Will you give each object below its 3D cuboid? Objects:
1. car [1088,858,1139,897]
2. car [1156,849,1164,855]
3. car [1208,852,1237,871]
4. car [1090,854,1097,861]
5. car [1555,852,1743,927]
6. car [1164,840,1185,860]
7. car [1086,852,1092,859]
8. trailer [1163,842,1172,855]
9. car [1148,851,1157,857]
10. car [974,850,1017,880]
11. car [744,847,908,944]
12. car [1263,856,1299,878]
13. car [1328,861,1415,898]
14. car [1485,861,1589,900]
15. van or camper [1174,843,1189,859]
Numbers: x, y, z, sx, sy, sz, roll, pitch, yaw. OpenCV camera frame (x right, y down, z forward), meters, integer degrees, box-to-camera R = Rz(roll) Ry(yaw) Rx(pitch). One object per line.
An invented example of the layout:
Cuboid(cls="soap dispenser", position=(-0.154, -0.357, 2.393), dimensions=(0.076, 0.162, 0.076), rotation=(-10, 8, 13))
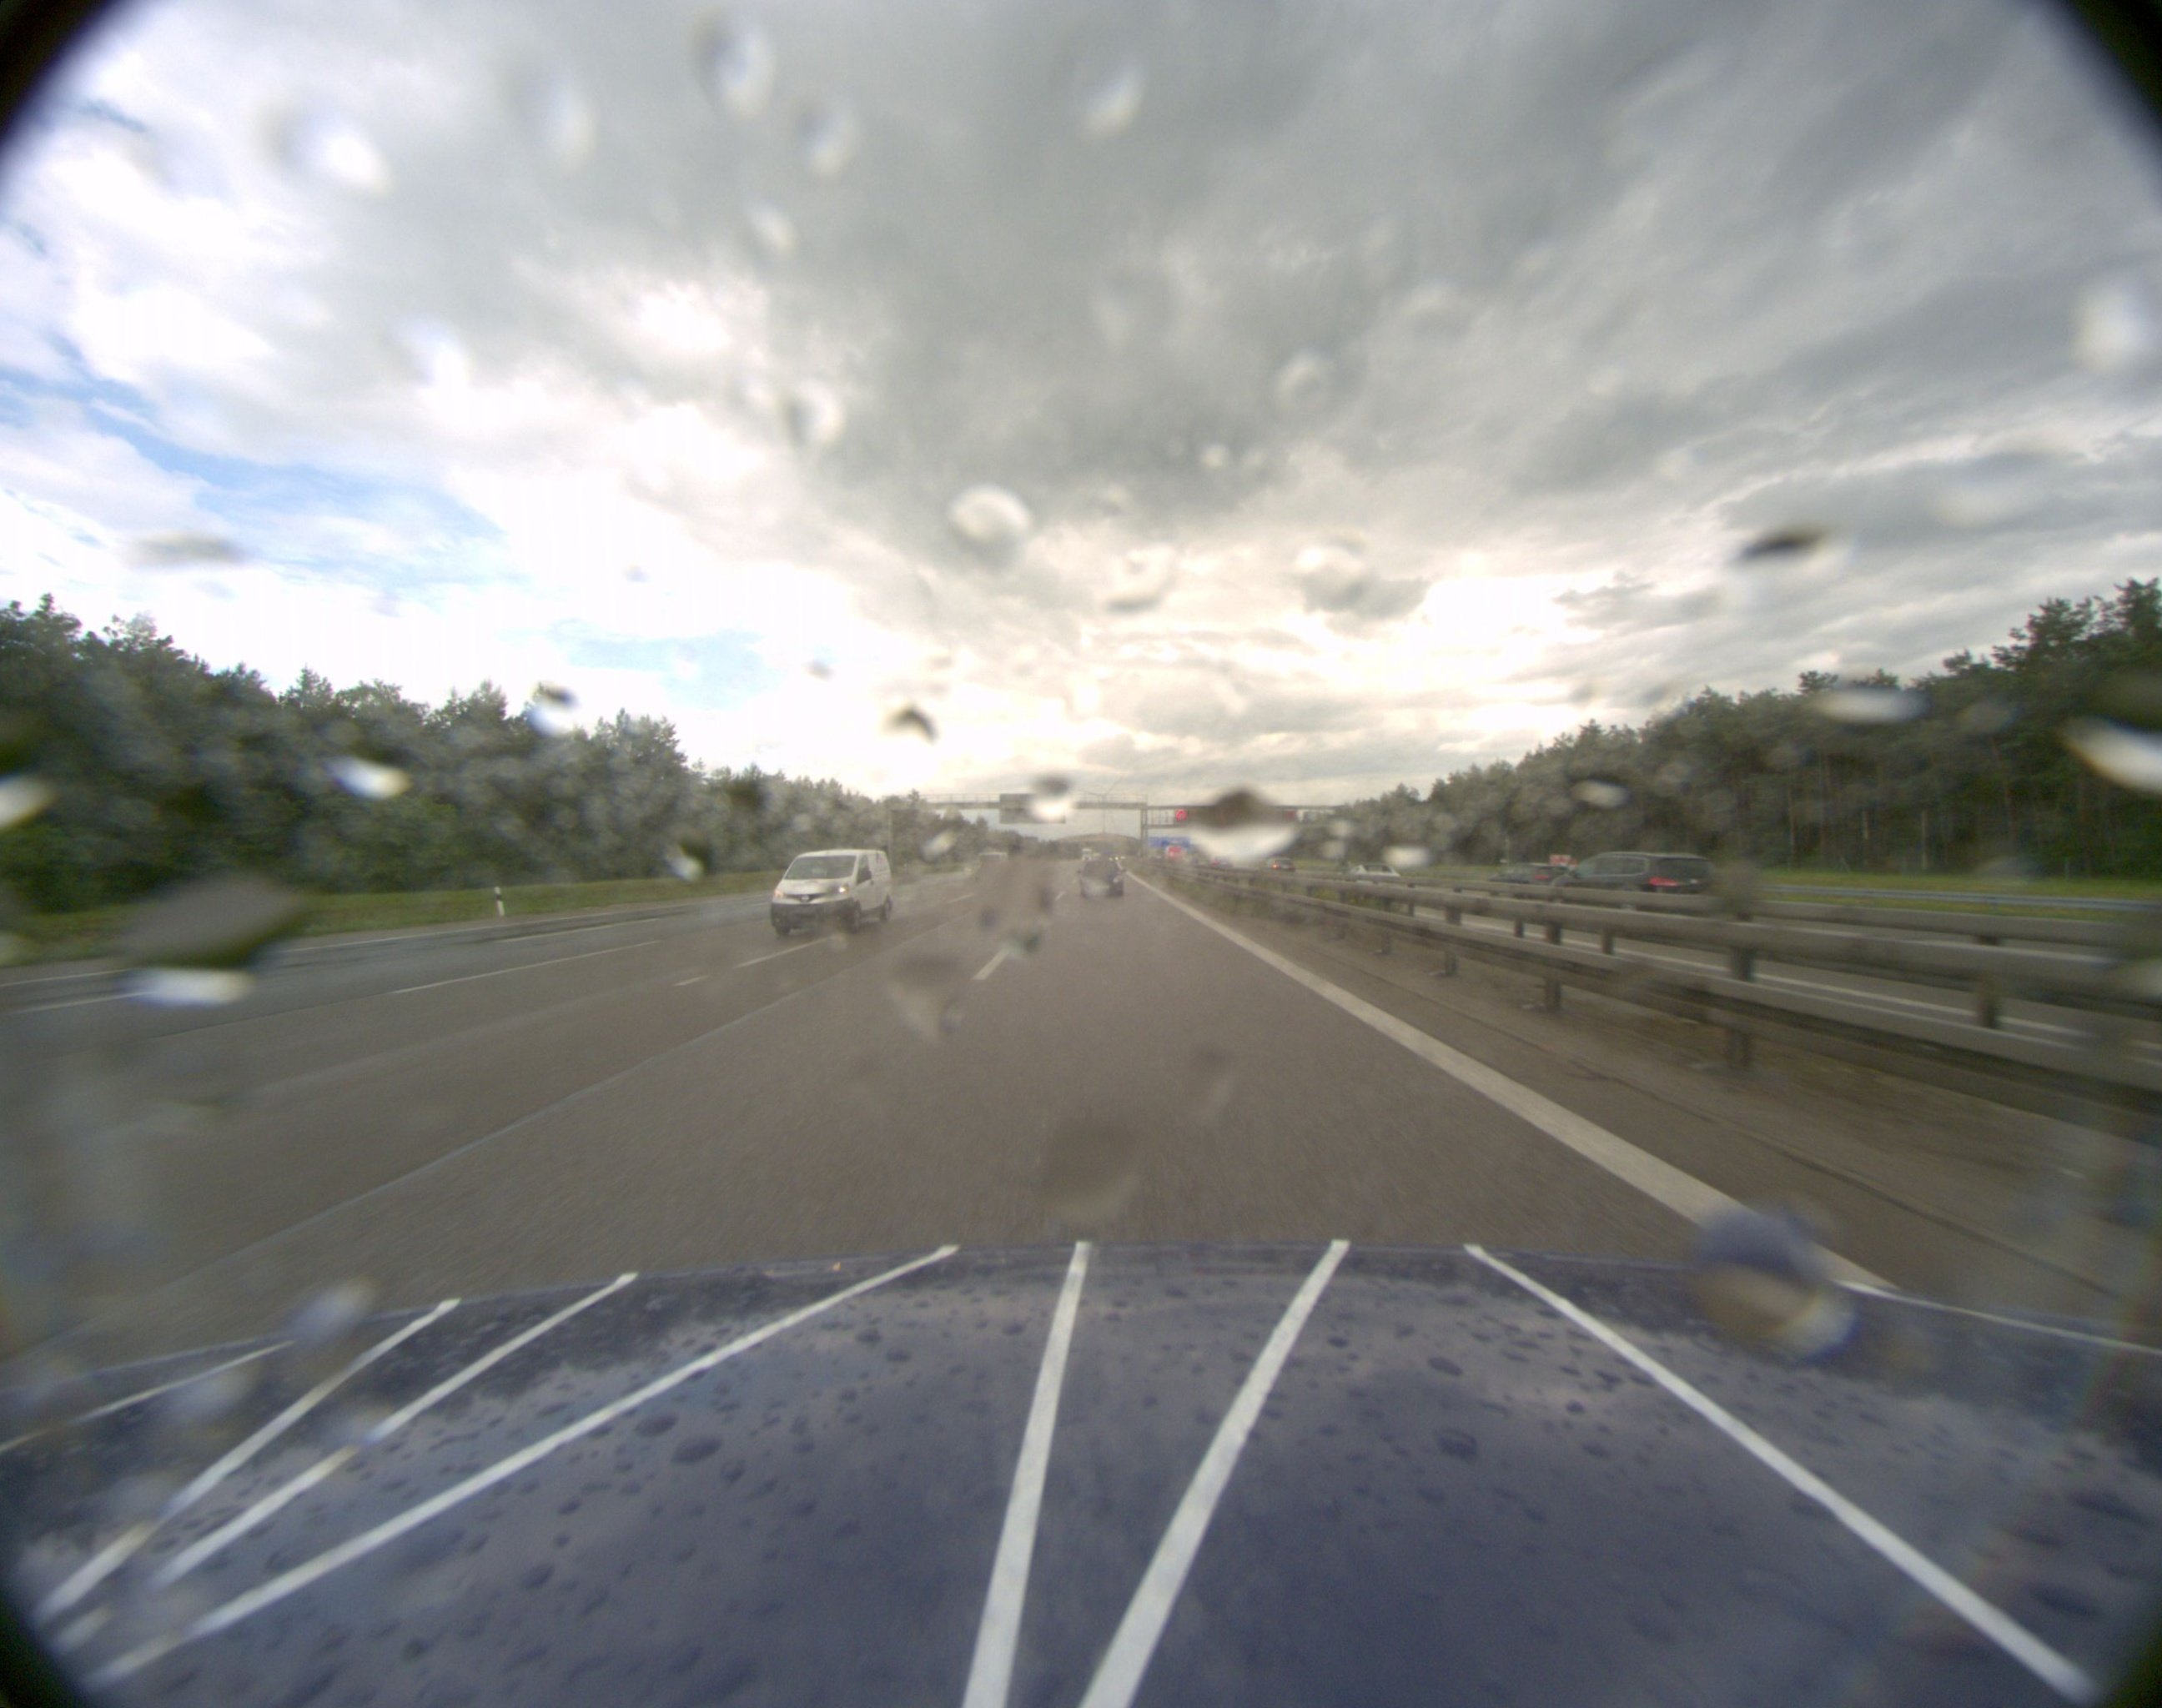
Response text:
Cuboid(cls="car", position=(1.352, 0.868, 29.940), dimensions=(1.809, 1.321, 4.432), rotation=(-1, 0, 5))
Cuboid(cls="car", position=(27.171, -0.585, 261.739), dimensions=(2.288, 2.002, 6.740), rotation=(-3, 0, 5))
Cuboid(cls="car", position=(11.680, 0.585, 62.963), dimensions=(1.794, 1.533, 3.722), rotation=(0, 0, 2))
Cuboid(cls="car", position=(3.401, 1.001, 208.175), dimensions=(1.998, 2.002, 4.000), rotation=(0, 0, 2))
Cuboid(cls="car", position=(14.369, 0.812, 19.560), dimensions=(1.728, 1.674, 4.136), rotation=(2, 0, 1))
Cuboid(cls="car", position=(12.474, -0.554, 101.786), dimensions=(2.138, 2.646, 6.673), rotation=(-1, 0, 1))
Cuboid(cls="car", position=(2.455, 0.545, 231.025), dimensions=(1.998, 2.002, 4.000), rotation=(0, 0, 2))
Cuboid(cls="trailer", position=(30.936, -1.941, 271.064), dimensions=(2.102, 4.216, 14.627), rotation=(-3, 0, 3))
Cuboid(cls="car", position=(15.967, -0.018, 169.926), dimensions=(1.698, 1.506, 4.000), rotation=(-1, 0, 1))
Cuboid(cls="car", position=(-6.064, 0.724, 54.620), dimensions=(1.998, 2.002, 5.484), rotation=(-2, 0, 4))
Cuboid(cls="car", position=(-5.674, 0.824, 17.705), dimensions=(1.968, 1.891, 4.882), rotation=(-1, 0, 2))
Cuboid(cls="car", position=(15.299, 0.999, 58.346), dimensions=(1.757, 1.570, 3.847), rotation=(-1, 0, 1))
Cuboid(cls="car", position=(10.661, 0.888, 28.159), dimensions=(1.698, 1.253, 4.062), rotation=(0, 0, 1))
Cuboid(cls="car", position=(18.505, 1.018, 31.080), dimensions=(1.728, 1.388, 4.183), rotation=(1, 0, 1))
Cuboid(cls="van or camper", position=(19.750, -0.527, 149.456), dimensions=(2.306, 3.094, 7.545), rotation=(0, 0, 4))
